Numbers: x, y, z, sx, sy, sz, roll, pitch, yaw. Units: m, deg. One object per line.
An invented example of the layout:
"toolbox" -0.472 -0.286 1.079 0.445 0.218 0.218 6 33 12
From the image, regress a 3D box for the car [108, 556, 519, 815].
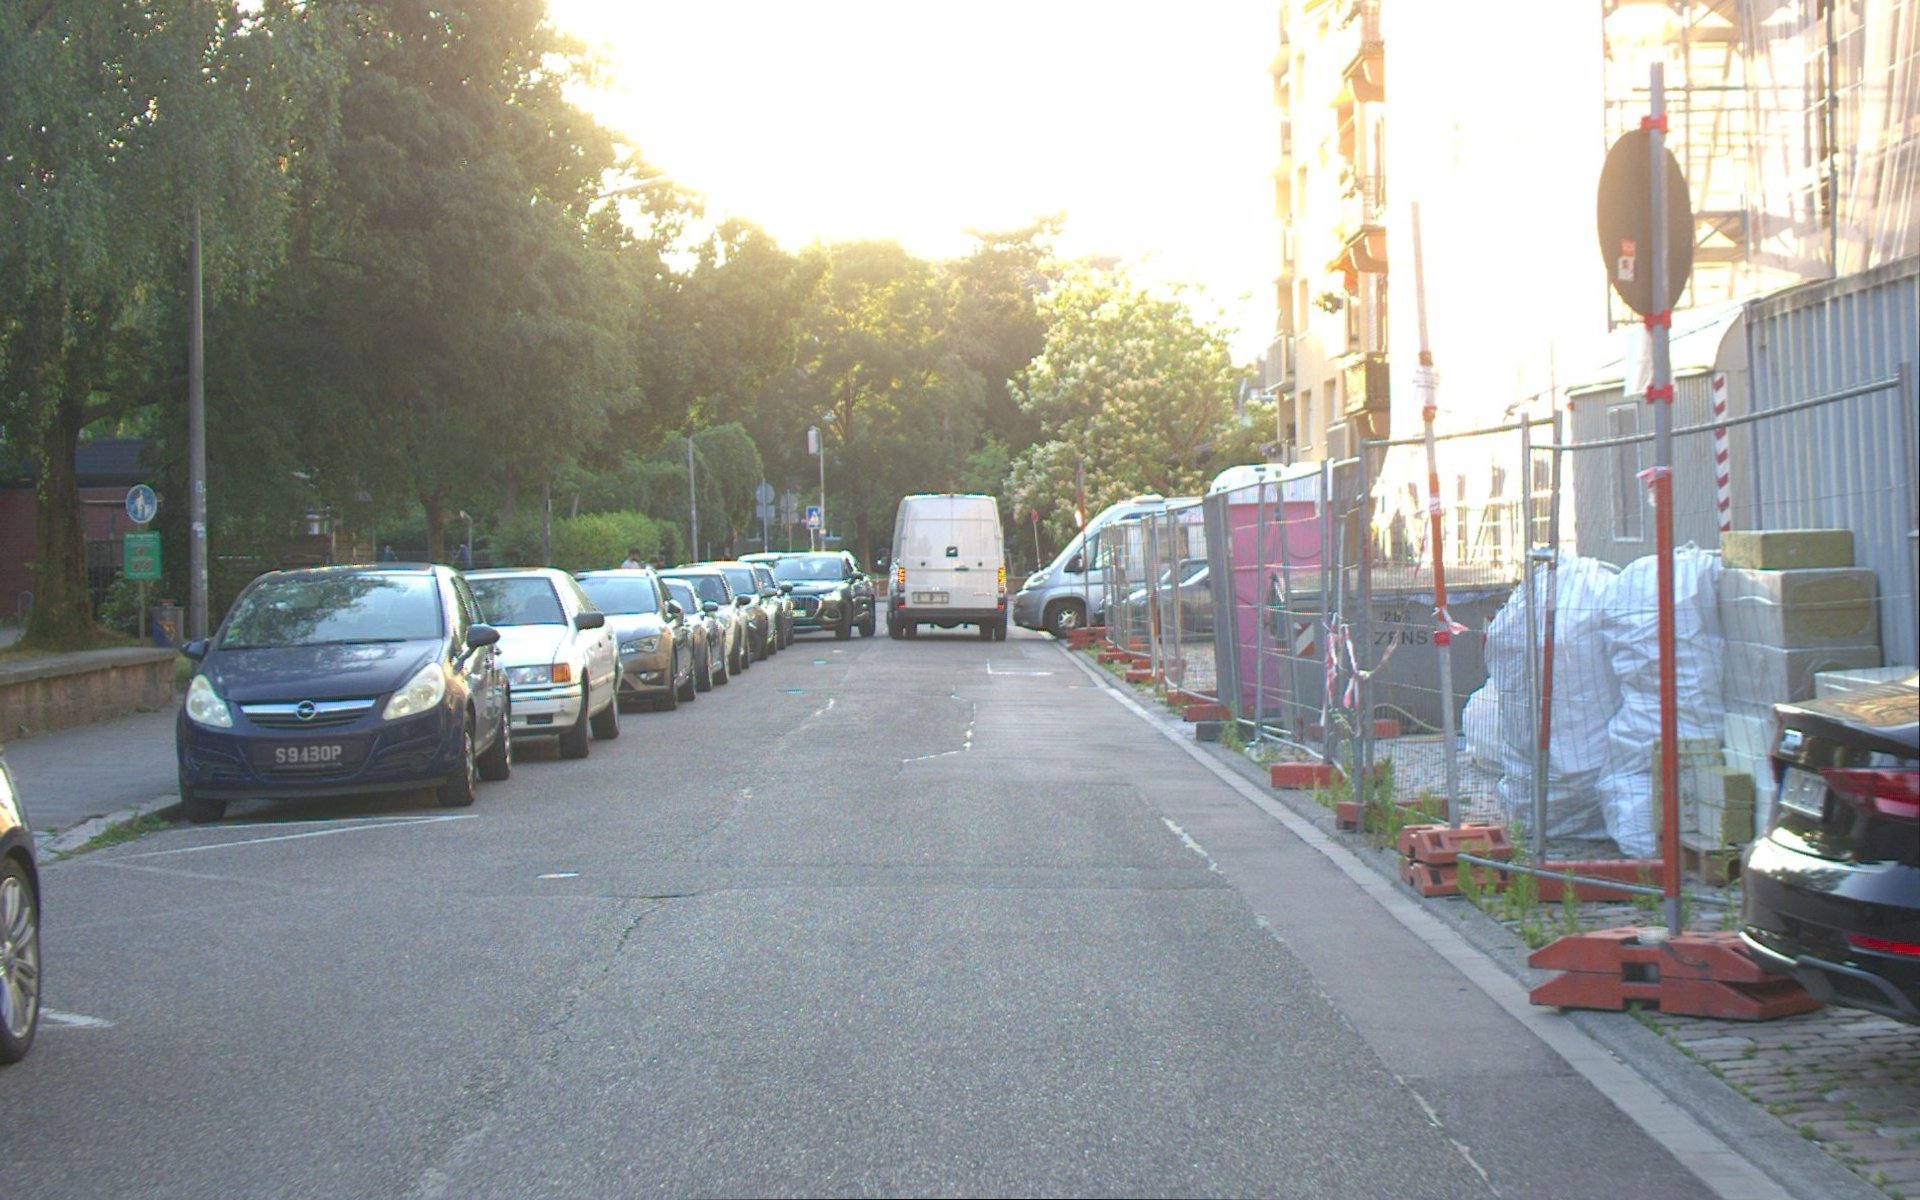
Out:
"car" -3.897 0.457 21.363 1.993 1.448 4.001 0 1 -3

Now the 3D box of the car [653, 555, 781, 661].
"car" -3.688 0.095 52.767 1.715 1.491 4.361 -2 1 -1

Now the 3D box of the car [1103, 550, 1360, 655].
"car" 4.546 0.028 57.984 3.986 1.510 2.020 -3 1 -4

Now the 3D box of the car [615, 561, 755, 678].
"car" -3.672 0.235 46.360 1.601 1.426 3.804 -3 1 -1

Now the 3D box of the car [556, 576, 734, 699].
"car" -3.665 0.408 40.600 1.659 1.309 4.154 -2 1 0

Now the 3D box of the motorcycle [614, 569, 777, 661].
"motorcycle" -3.810 0.203 49.576 2.165 1.299 0.879 0 0 14

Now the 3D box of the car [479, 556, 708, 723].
"car" -3.688 0.357 35.312 1.860 1.532 4.759 -2 1 -1

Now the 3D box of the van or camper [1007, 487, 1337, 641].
"van or camper" 3.878 -0.659 63.612 5.928 2.760 2.110 0 0 -1

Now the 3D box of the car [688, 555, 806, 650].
"car" -3.555 0.020 57.917 1.637 1.473 3.992 -2 0 1

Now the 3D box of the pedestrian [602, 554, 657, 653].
"pedestrian" -6.134 0.063 63.828 0.937 1.824 0.787 0 0 -1

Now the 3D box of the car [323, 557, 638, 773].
"car" -3.633 0.439 26.849 1.782 1.441 4.749 -3 1 -1

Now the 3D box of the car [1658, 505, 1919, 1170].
"car" 4.135 0.539 9.217 4.153 1.610 1.872 -1 1 2

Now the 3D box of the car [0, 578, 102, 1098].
"car" -3.689 0.686 8.599 1.993 1.448 4.288 0 1 0

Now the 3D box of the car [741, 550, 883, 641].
"car" -2.654 -0.089 62.709 1.805 1.564 4.564 -1 0 7

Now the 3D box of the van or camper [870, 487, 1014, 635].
"van or camper" -0.314 -0.716 63.113 2.453 2.538 6.083 1 1 0
